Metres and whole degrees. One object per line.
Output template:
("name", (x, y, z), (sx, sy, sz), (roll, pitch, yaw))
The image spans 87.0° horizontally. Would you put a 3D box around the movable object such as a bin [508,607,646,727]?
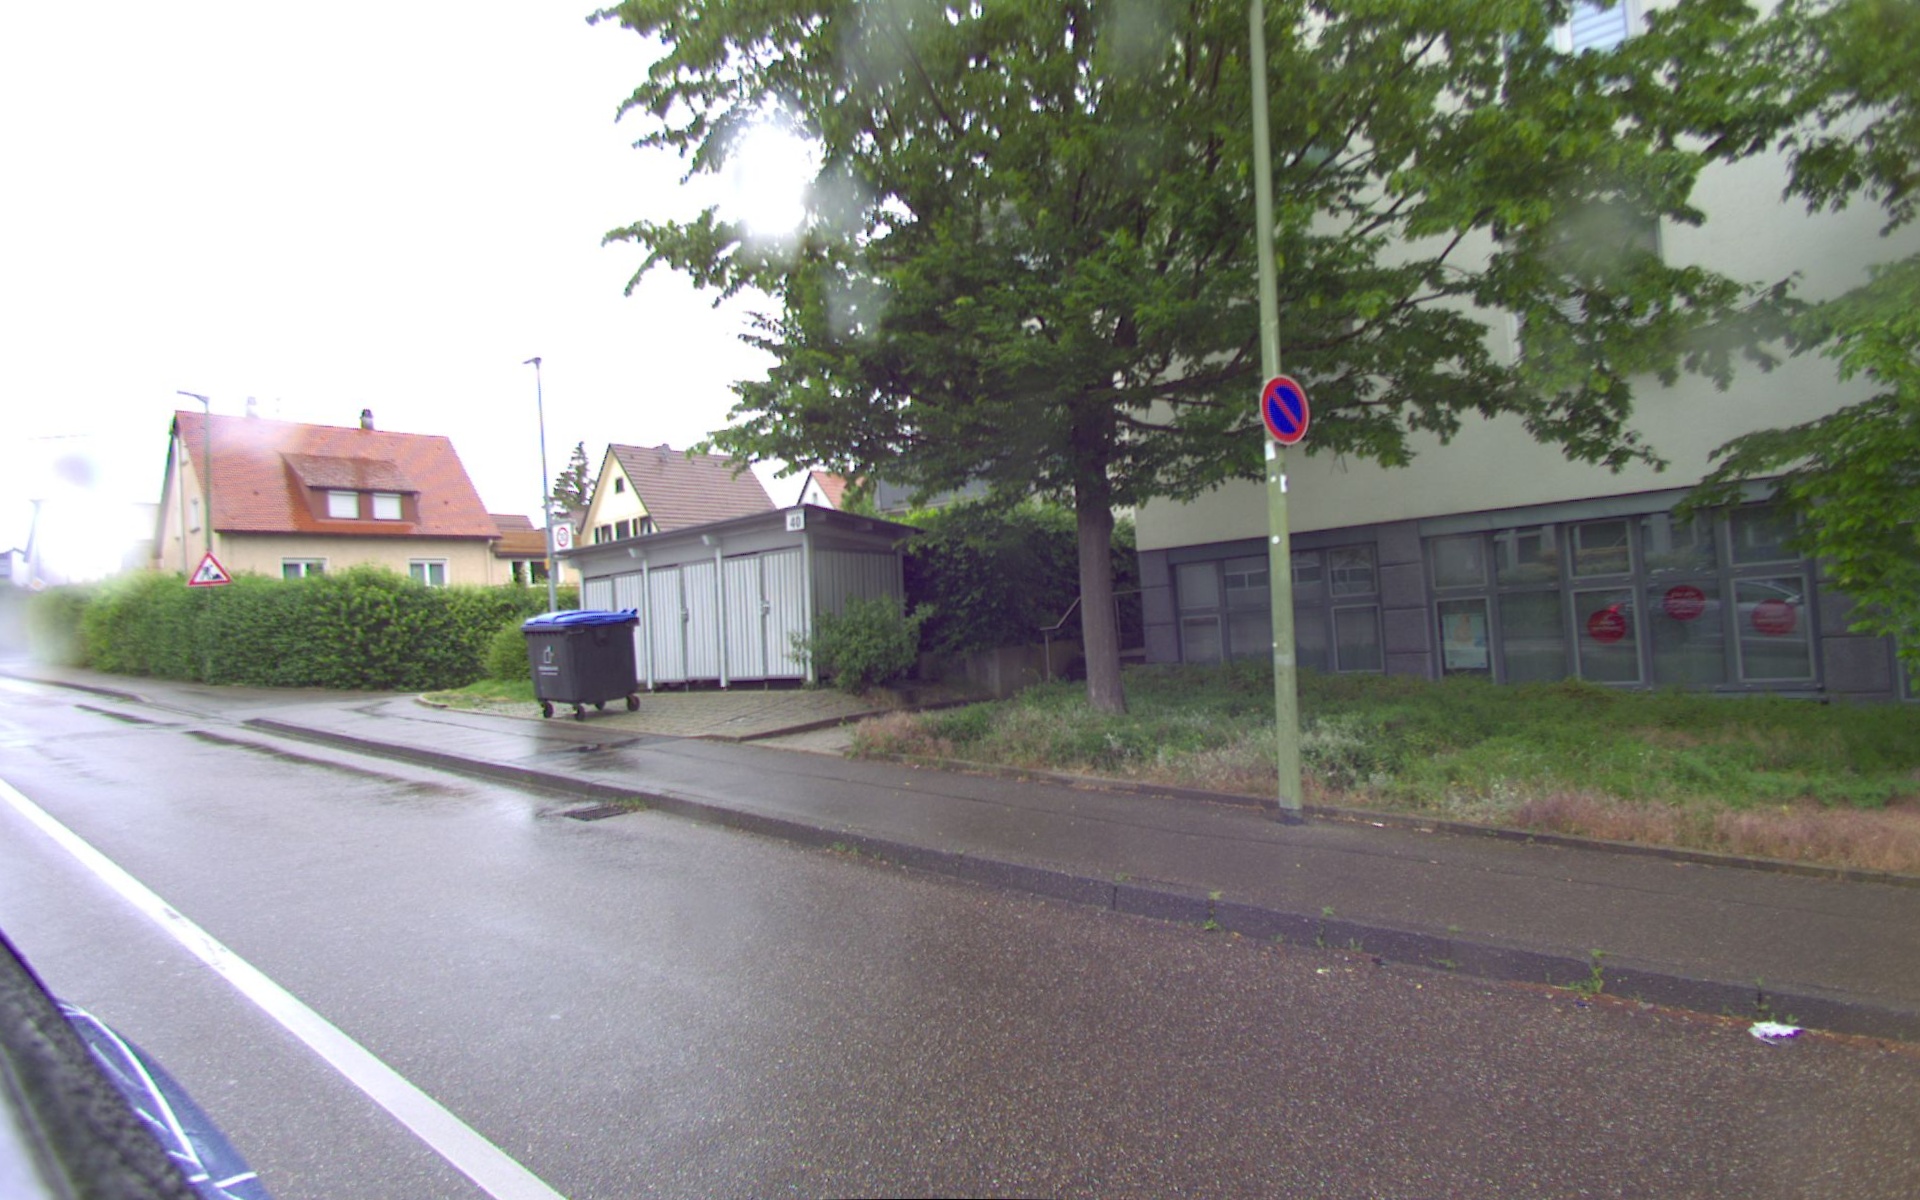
("movable object such as a bin", (-4.816, 0.803, 12.725), (1.317, 1.357, 1.061), (-2, 1, 39))
